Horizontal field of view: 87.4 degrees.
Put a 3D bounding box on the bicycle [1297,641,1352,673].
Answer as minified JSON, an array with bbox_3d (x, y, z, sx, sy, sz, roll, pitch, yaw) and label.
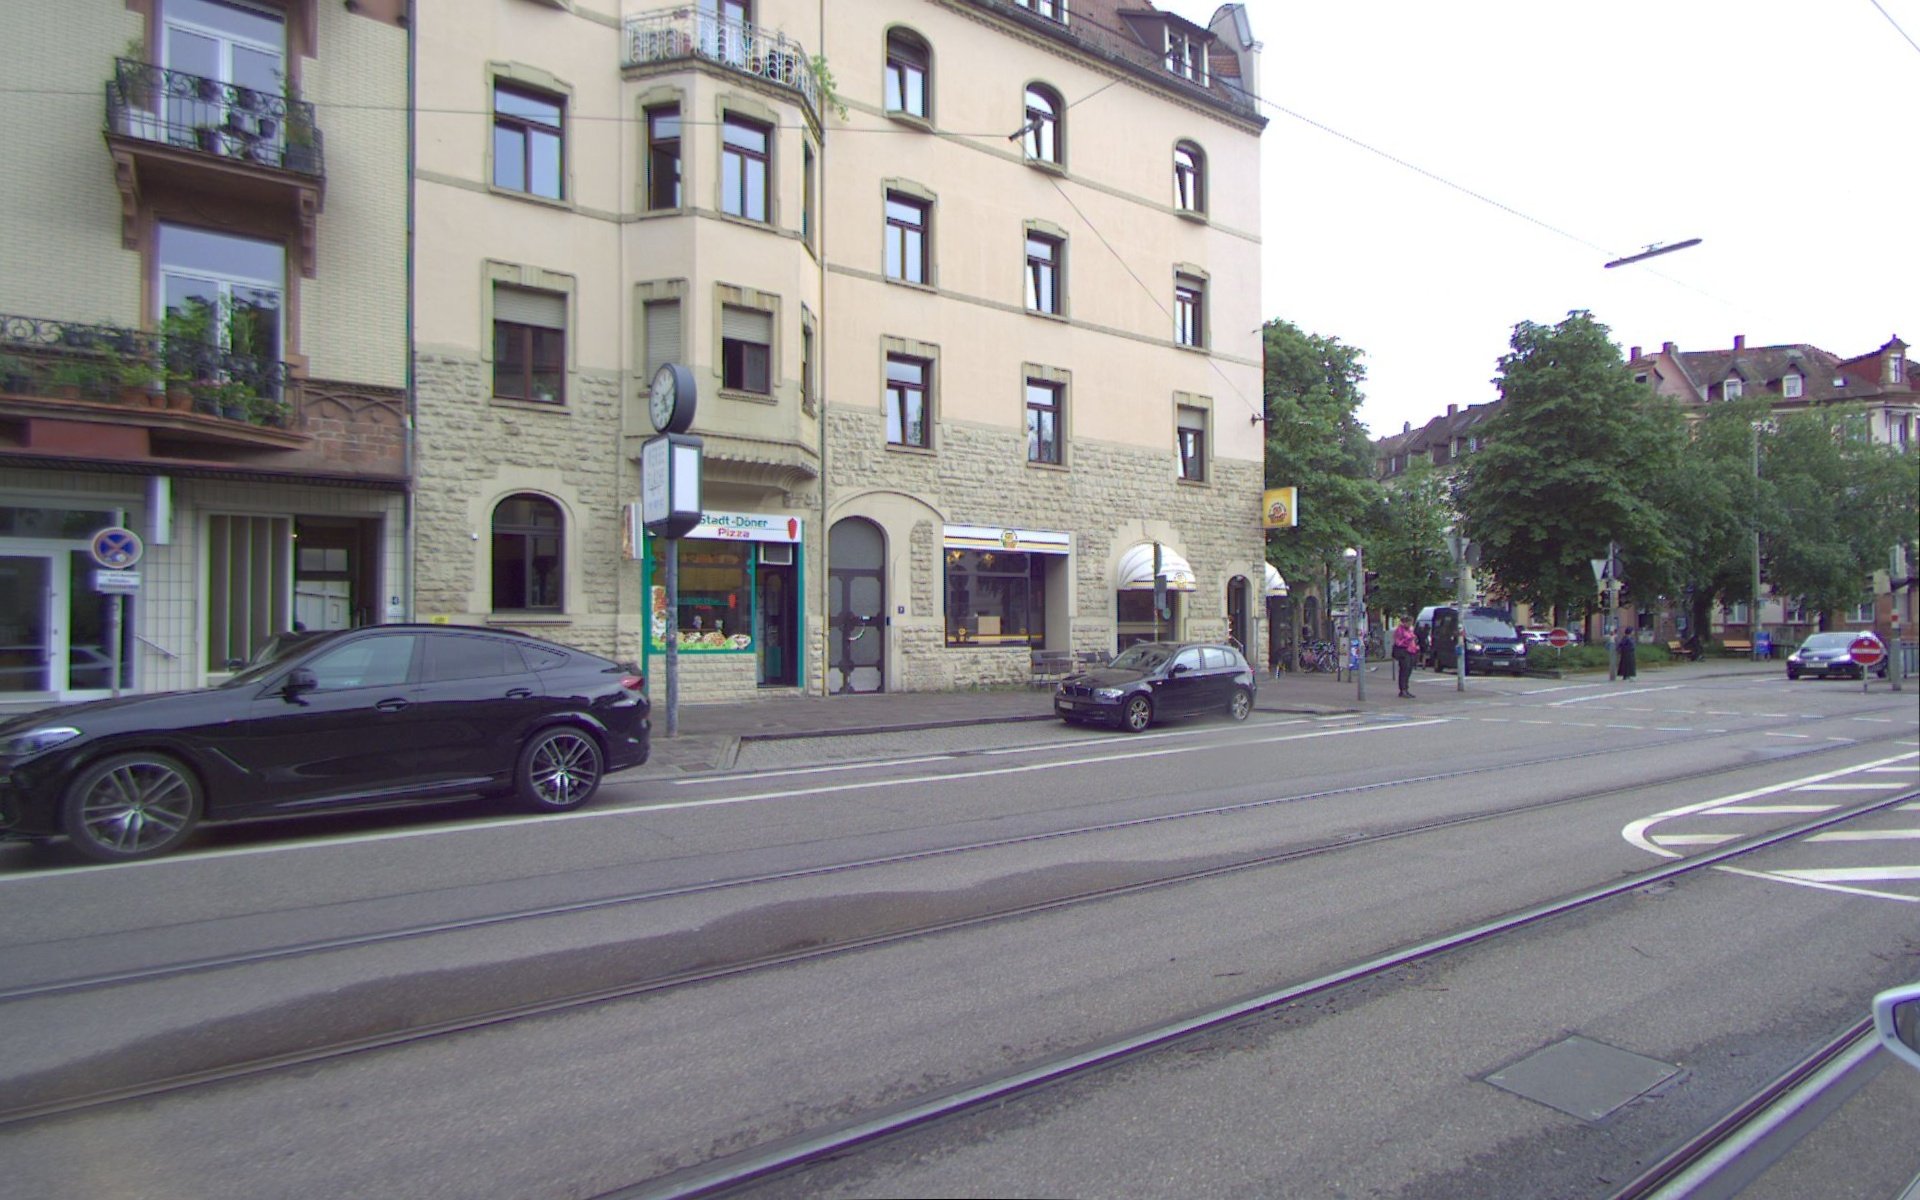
[{"bbox_3d":[12.910,2.019,35.616,1.777,1.091,0.359,-1,-1,10],"label":"bicycle"}]

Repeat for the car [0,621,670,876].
[{"bbox_3d":[-5.185,1.074,8.659,4.852,1.632,1.866,2,-5,-43],"label":"car"}]

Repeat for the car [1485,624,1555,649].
[{"bbox_3d":[37.304,2.436,66.999,1.703,1.644,3.841,0,-2,-24],"label":"car"}]

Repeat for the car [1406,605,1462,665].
[{"bbox_3d":[21.484,1.606,45.669,2.144,2.560,5.377,-1,-2,24],"label":"car"}]

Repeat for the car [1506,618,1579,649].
[{"bbox_3d":[31.769,1.806,54.747,3.954,1.617,1.786,1,-2,-31],"label":"car"}]

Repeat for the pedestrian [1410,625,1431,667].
[{"bbox_3d":[18.998,1.891,41.438,0.686,1.738,0.552,-1,-2,17],"label":"pedestrian"}]

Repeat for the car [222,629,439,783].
[{"bbox_3d":[-7.885,1.124,12.383,1.864,1.388,4.392,1,0,-37],"label":"car"}]

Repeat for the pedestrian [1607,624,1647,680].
[{"bbox_3d":[20.597,1.591,31.030,0.584,1.685,0.832,1,-2,-32],"label":"pedestrian"}]

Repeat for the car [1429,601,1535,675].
[{"bbox_3d":[18.607,1.363,36.088,2.142,2.449,5.384,-1,-2,14],"label":"car"}]

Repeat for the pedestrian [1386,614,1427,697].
[{"bbox_3d":[10.312,1.274,23.193,0.604,1.866,0.619,1,-2,-36],"label":"pedestrian"}]

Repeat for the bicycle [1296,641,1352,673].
[{"bbox_3d":[12.694,2.000,35.063,1.777,1.091,0.359,-1,-1,10],"label":"bicycle"}]

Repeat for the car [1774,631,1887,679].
[{"bbox_3d":[26.975,1.671,31.098,3.816,1.400,1.677,1,-2,-34],"label":"car"}]

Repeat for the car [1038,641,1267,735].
[{"bbox_3d":[3.464,1.458,17.722,4.090,1.379,1.637,1,0,-36],"label":"car"}]

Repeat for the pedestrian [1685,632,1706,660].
[{"bbox_3d":[31.654,1.993,43.251,0.579,1.184,0.844,-1,-2,27],"label":"pedestrian"}]
